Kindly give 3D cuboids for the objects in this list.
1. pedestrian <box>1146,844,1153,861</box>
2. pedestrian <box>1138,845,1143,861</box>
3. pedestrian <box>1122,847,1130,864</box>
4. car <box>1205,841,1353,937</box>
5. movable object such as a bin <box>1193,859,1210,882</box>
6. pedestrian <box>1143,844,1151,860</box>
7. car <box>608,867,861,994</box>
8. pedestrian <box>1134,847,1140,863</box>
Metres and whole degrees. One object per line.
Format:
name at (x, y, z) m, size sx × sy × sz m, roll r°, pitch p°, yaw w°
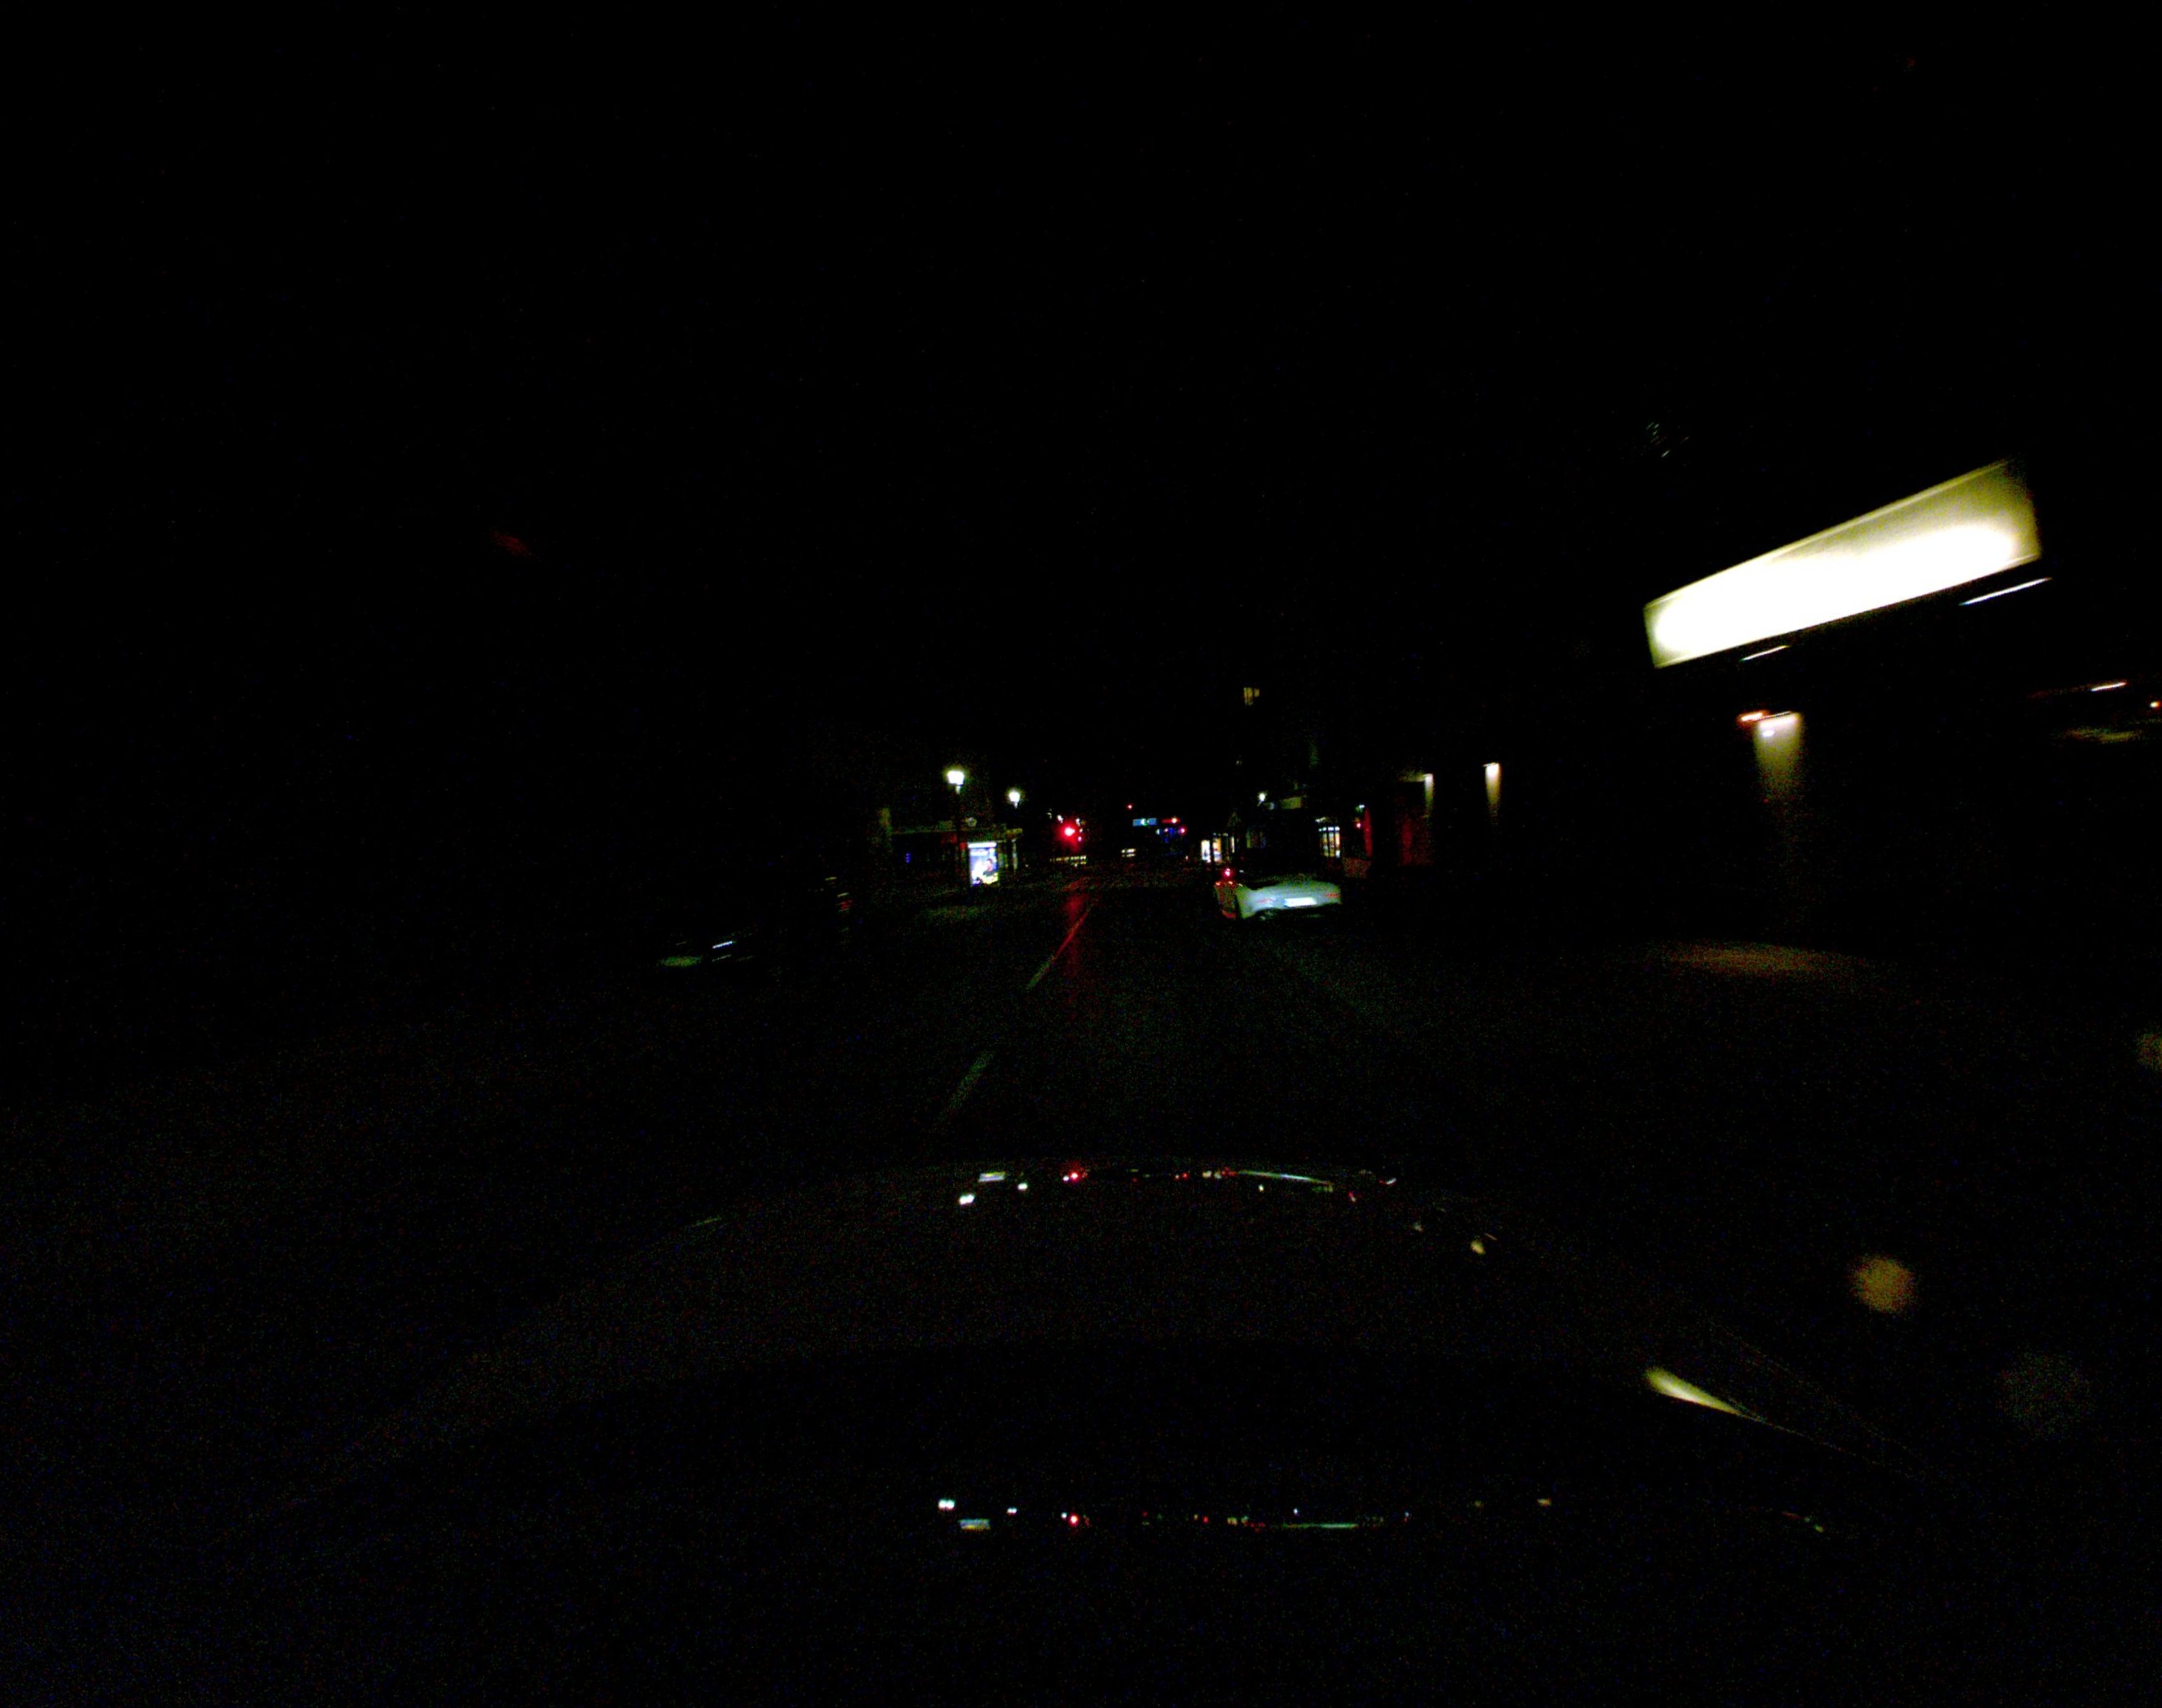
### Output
pedestrian at (7.655, -0.169, 90.861) m, size 0.731 × 1.795 × 0.719 m, roll -2°, pitch -1°, yaw 6°
pedestrian at (6.854, -0.123, 93.834) m, size 0.565 × 1.795 × 0.718 m, roll -2°, pitch -1°, yaw 1°
pedestrian at (5.032, 0.176, 90.670) m, size 0.711 × 1.795 × 0.571 m, roll -2°, pitch -2°, yaw 13°
car at (3.635, 0.590, 15.854) m, size 1.850 × 1.442 × 4.597 m, roll -5°, pitch 0°, yaw 2°
movable object such as a bin at (4.908, 0.673, 33.296) m, size 0.523 × 0.937 × 0.628 m, roll -2°, pitch -1°, yaw -5°
pedestrian at (7.397, -0.195, 91.512) m, size 0.571 × 1.795 × 0.711 m, roll -1°, pitch -2°, yaw -29°
car at (-4.779, 0.963, 11.956) m, size 1.684 × 1.436 × 4.132 m, roll -1°, pitch 0°, yaw 4°
pedestrian at (6.346, 0.094, 91.855) m, size 0.566 × 1.795 × 0.717 m, roll -2°, pitch -1°, yaw -2°
